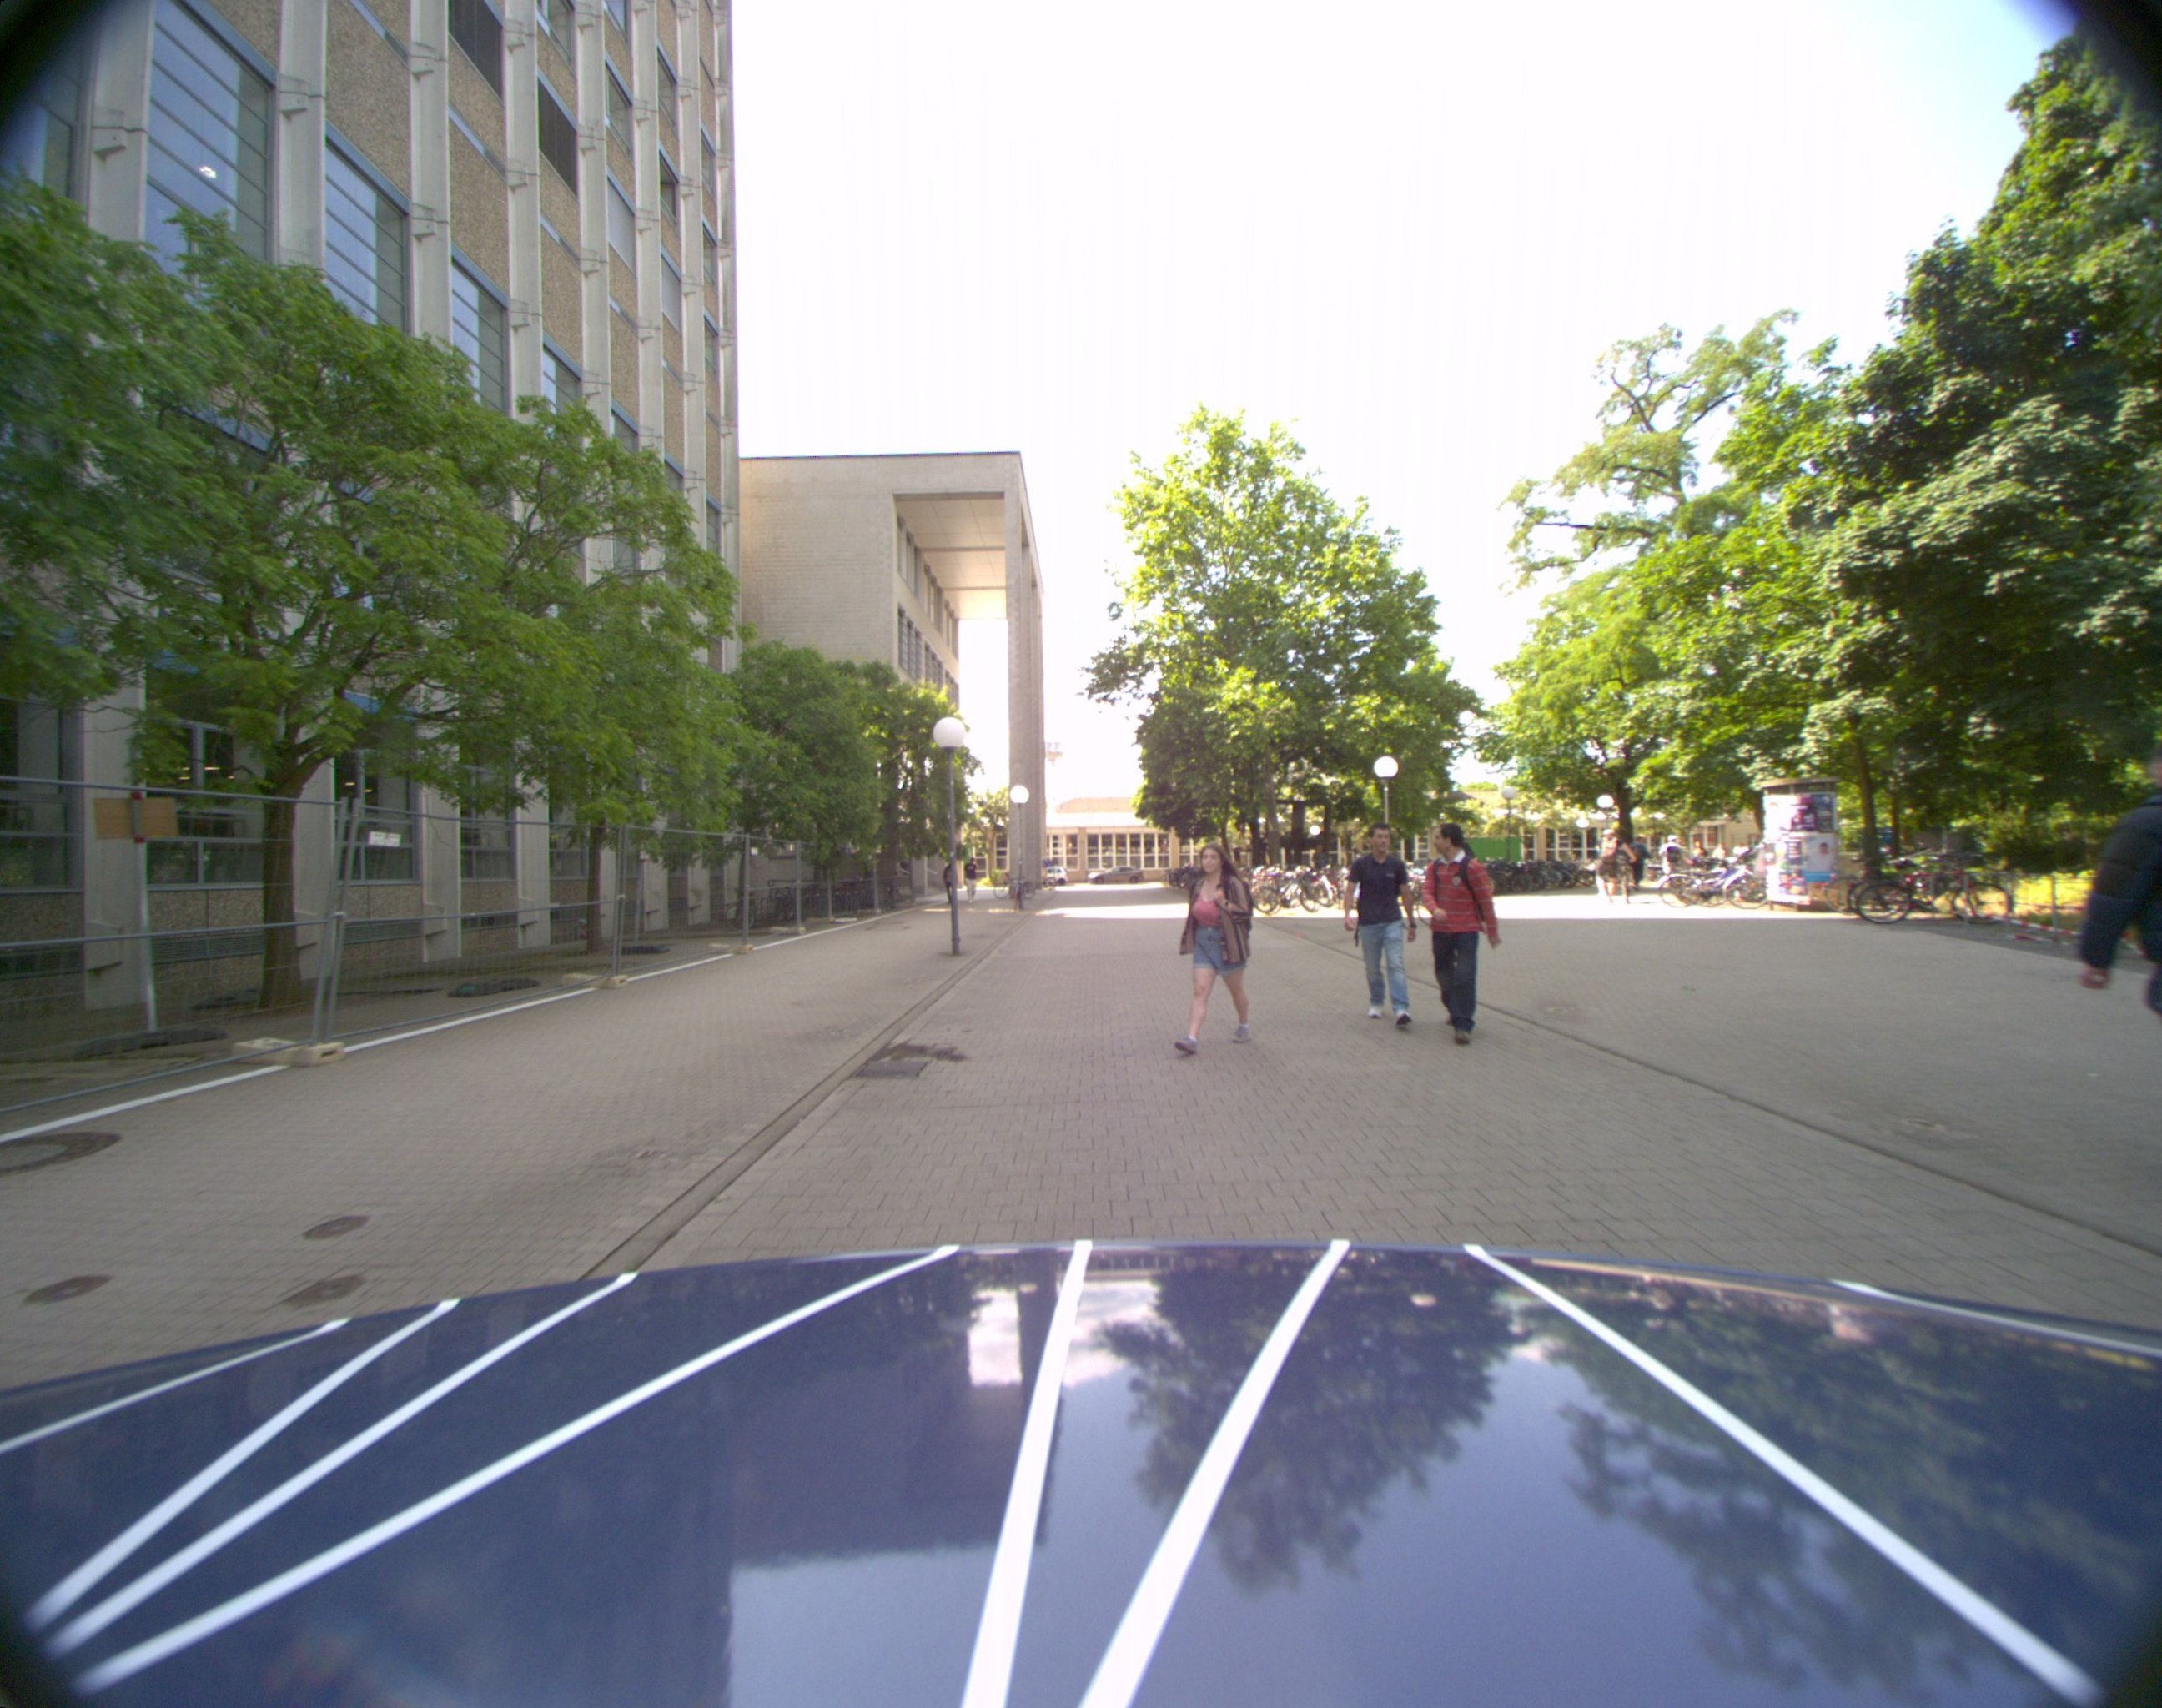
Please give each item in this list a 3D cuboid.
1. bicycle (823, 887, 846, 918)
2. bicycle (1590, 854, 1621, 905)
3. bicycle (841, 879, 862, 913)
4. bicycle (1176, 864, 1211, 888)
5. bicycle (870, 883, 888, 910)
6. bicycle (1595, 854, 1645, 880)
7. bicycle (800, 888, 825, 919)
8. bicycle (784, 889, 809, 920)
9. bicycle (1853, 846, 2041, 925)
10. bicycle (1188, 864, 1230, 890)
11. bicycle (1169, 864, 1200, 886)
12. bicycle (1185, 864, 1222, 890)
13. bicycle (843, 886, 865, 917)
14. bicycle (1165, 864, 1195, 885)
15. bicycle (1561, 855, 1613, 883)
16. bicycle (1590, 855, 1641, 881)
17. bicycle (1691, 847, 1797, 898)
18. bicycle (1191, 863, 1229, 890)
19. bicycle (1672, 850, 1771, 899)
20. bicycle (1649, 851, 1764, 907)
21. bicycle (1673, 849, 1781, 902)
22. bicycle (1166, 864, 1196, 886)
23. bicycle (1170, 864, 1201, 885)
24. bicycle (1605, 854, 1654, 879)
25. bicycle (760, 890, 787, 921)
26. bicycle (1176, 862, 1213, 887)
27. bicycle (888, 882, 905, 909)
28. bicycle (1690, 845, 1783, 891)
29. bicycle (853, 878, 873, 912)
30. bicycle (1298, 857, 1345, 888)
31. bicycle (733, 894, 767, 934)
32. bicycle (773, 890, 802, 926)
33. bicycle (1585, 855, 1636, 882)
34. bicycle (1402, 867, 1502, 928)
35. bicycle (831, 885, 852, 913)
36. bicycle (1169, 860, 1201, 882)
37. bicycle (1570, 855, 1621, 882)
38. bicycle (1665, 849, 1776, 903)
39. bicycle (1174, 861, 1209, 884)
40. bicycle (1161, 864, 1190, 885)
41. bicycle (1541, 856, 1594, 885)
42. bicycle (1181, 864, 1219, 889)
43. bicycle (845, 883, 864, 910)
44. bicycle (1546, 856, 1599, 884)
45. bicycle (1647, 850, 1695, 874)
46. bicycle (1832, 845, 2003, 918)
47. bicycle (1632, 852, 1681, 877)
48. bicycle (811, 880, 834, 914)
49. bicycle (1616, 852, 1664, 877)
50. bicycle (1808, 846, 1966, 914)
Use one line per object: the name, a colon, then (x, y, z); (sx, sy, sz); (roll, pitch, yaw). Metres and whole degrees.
bicycle: (-7.802, 1.531, 24.053); (0.291, 0.900, 1.448); (-2, 0, -2)
bicycle: (12.633, 0.591, 18.337); (0.473, 1.103, 1.848); (-3, 0, 32)
bicycle: (-7.933, 1.433, 26.268); (0.291, 1.087, 1.448); (-2, 0, -2)
bicycle: (5.663, 1.107, 38.346); (1.629, 1.101, 0.497); (-3, 0, -4)
bicycle: (-7.401, 1.535, 27.808); (0.291, 0.900, 1.448); (-2, 0, -2)
bicycle: (23.686, 0.591, 33.392); (0.475, 1.077, 1.695); (-3, 0, -38)
bicycle: (-8.478, 1.557, 24.020); (0.291, 0.900, 1.448); (-2, 0, -2)
bicycle: (-8.985, 1.576, 24.030); (0.291, 0.900, 1.448); (-2, 0, -2)
bicycle: (12.958, 0.488, 11.440); (1.773, 1.103, 0.475); (-3, 0, 30)
bicycle: (5.739, 1.036, 34.079); (1.737, 1.101, 0.575); (-3, 0, 20)
bicycle: (5.686, 1.137, 41.751); (1.628, 1.101, 0.497); (-3, 0, 6)
bicycle: (5.694, 1.058, 35.344); (1.627, 1.101, 0.497); (-3, 0, 15)
bicycle: (-7.200, 1.510, 24.135); (0.291, 0.900, 1.448); (-2, 0, -2)
bicycle: (5.653, 1.162, 43.432); (1.628, 1.101, 0.497); (-3, 0, 6)
bicycle: (20.950, 0.632, 31.504); (0.475, 1.077, 1.695); (-3, 0, -38)
bicycle: (23.176, 0.601, 32.991); (0.475, 1.077, 1.695); (-3, 0, -38)
bicycle: (15.099, 0.431, 17.359); (1.773, 1.103, 0.475); (-3, 0, 40)
bicycle: (5.891, 1.049, 34.730); (1.627, 1.137, 0.497); (-3, 0, 15)
bicycle: (15.401, 0.506, 18.313); (1.773, 1.103, 0.475); (-3, 0, 40)
bicycle: (12.967, 0.529, 15.800); (1.773, 1.103, 0.475); (-3, 0, 45)
bicycle: (14.275, 0.498, 16.839); (1.773, 1.103, 0.475); (-3, 0, 40)
bicycle: (5.647, 1.186, 42.869); (1.628, 1.101, 0.630); (-3, 0, 5)
bicycle: (5.810, 1.127, 42.296); (1.628, 1.101, 0.506); (-3, 0, 6)
bicycle: (24.431, 0.572, 33.872); (0.475, 1.077, 1.696); (-3, 0, -33)
bicycle: (-9.728, 1.606, 24.055); (0.291, 0.900, 1.448); (-2, 0, -2)
bicycle: (5.795, 1.059, 38.840); (1.784, 1.155, 0.497); (-3, 0, -4)
bicycle: (-6.715, 1.487, 27.652); (0.291, 0.900, 1.448); (-2, 0, -2)
bicycle: (17.019, 0.375, 19.783); (1.773, 1.103, 0.518); (-3, 0, 40)
bicycle: (-7.540, 1.404, 26.314); (0.291, 1.121, 1.448); (-2, 0, -2)
bicycle: (9.483, 0.744, 29.985); (0.577, 1.192, 1.695); (-3, 0, -39)
bicycle: (-8.257, 1.477, 18.993); (0.291, 0.900, 1.618); (-2, 0, -7)
bicycle: (-8.143, 1.484, 21.128); (0.291, 0.900, 1.804); (-2, 0, -7)
bicycle: (22.668, 0.623, 32.540); (0.475, 1.077, 1.695); (-3, 0, -38)
bicycle: (7.295, 0.843, 14.957); (1.700, 1.077, 0.603); (-3, 0, -11)
bicycle: (-8.279, 1.549, 26.265); (0.291, 0.882, 1.448); (-2, 0, -2)
bicycle: (5.621, 0.906, 41.029); (1.628, 1.101, 0.691); (-3, 0, 6)
bicycle: (21.629, 0.609, 31.961); (0.475, 1.077, 1.695); (-3, 0, -38)
bicycle: (13.842, 0.488, 16.484); (1.773, 1.103, 0.475); (-3, 0, 45)
bicycle: (5.751, 0.962, 39.475); (1.629, 1.101, 0.645); (-3, 0, -4)
bicycle: (5.461, 1.168, 44.006); (1.628, 1.101, 0.497); (-3, 0, 6)
bicycle: (19.527, 0.669, 30.549); (0.475, 1.077, 1.695); (-3, 0, -38)
bicycle: (5.853, 1.095, 37.383); (1.724, 1.101, 0.720); (-3, 0, 12)
bicycle: (-8.272, 1.553, 27.828); (0.291, 0.900, 1.448); (-2, 0, -2)
bicycle: (19.931, 0.668, 30.849); (0.475, 1.077, 1.695); (-3, 0, -38)
bicycle: (27.472, 0.394, 35.406); (0.475, 1.077, 1.696); (-3, 0, -28)
bicycle: (13.531, 0.453, 12.352); (1.773, 1.103, 0.475); (-3, 0, 30)
bicycle: (26.436, 0.484, 34.931); (0.475, 1.077, 1.696); (-3, 0, -28)
bicycle: (-8.928, 1.470, 26.272); (0.291, 1.092, 1.448); (-2, 0, -2)
bicycle: (25.452, 0.474, 34.618); (0.475, 1.077, 1.696); (-3, 0, -28)
bicycle: (13.894, 0.461, 13.160); (1.773, 1.103, 0.475); (-3, 0, 30)
